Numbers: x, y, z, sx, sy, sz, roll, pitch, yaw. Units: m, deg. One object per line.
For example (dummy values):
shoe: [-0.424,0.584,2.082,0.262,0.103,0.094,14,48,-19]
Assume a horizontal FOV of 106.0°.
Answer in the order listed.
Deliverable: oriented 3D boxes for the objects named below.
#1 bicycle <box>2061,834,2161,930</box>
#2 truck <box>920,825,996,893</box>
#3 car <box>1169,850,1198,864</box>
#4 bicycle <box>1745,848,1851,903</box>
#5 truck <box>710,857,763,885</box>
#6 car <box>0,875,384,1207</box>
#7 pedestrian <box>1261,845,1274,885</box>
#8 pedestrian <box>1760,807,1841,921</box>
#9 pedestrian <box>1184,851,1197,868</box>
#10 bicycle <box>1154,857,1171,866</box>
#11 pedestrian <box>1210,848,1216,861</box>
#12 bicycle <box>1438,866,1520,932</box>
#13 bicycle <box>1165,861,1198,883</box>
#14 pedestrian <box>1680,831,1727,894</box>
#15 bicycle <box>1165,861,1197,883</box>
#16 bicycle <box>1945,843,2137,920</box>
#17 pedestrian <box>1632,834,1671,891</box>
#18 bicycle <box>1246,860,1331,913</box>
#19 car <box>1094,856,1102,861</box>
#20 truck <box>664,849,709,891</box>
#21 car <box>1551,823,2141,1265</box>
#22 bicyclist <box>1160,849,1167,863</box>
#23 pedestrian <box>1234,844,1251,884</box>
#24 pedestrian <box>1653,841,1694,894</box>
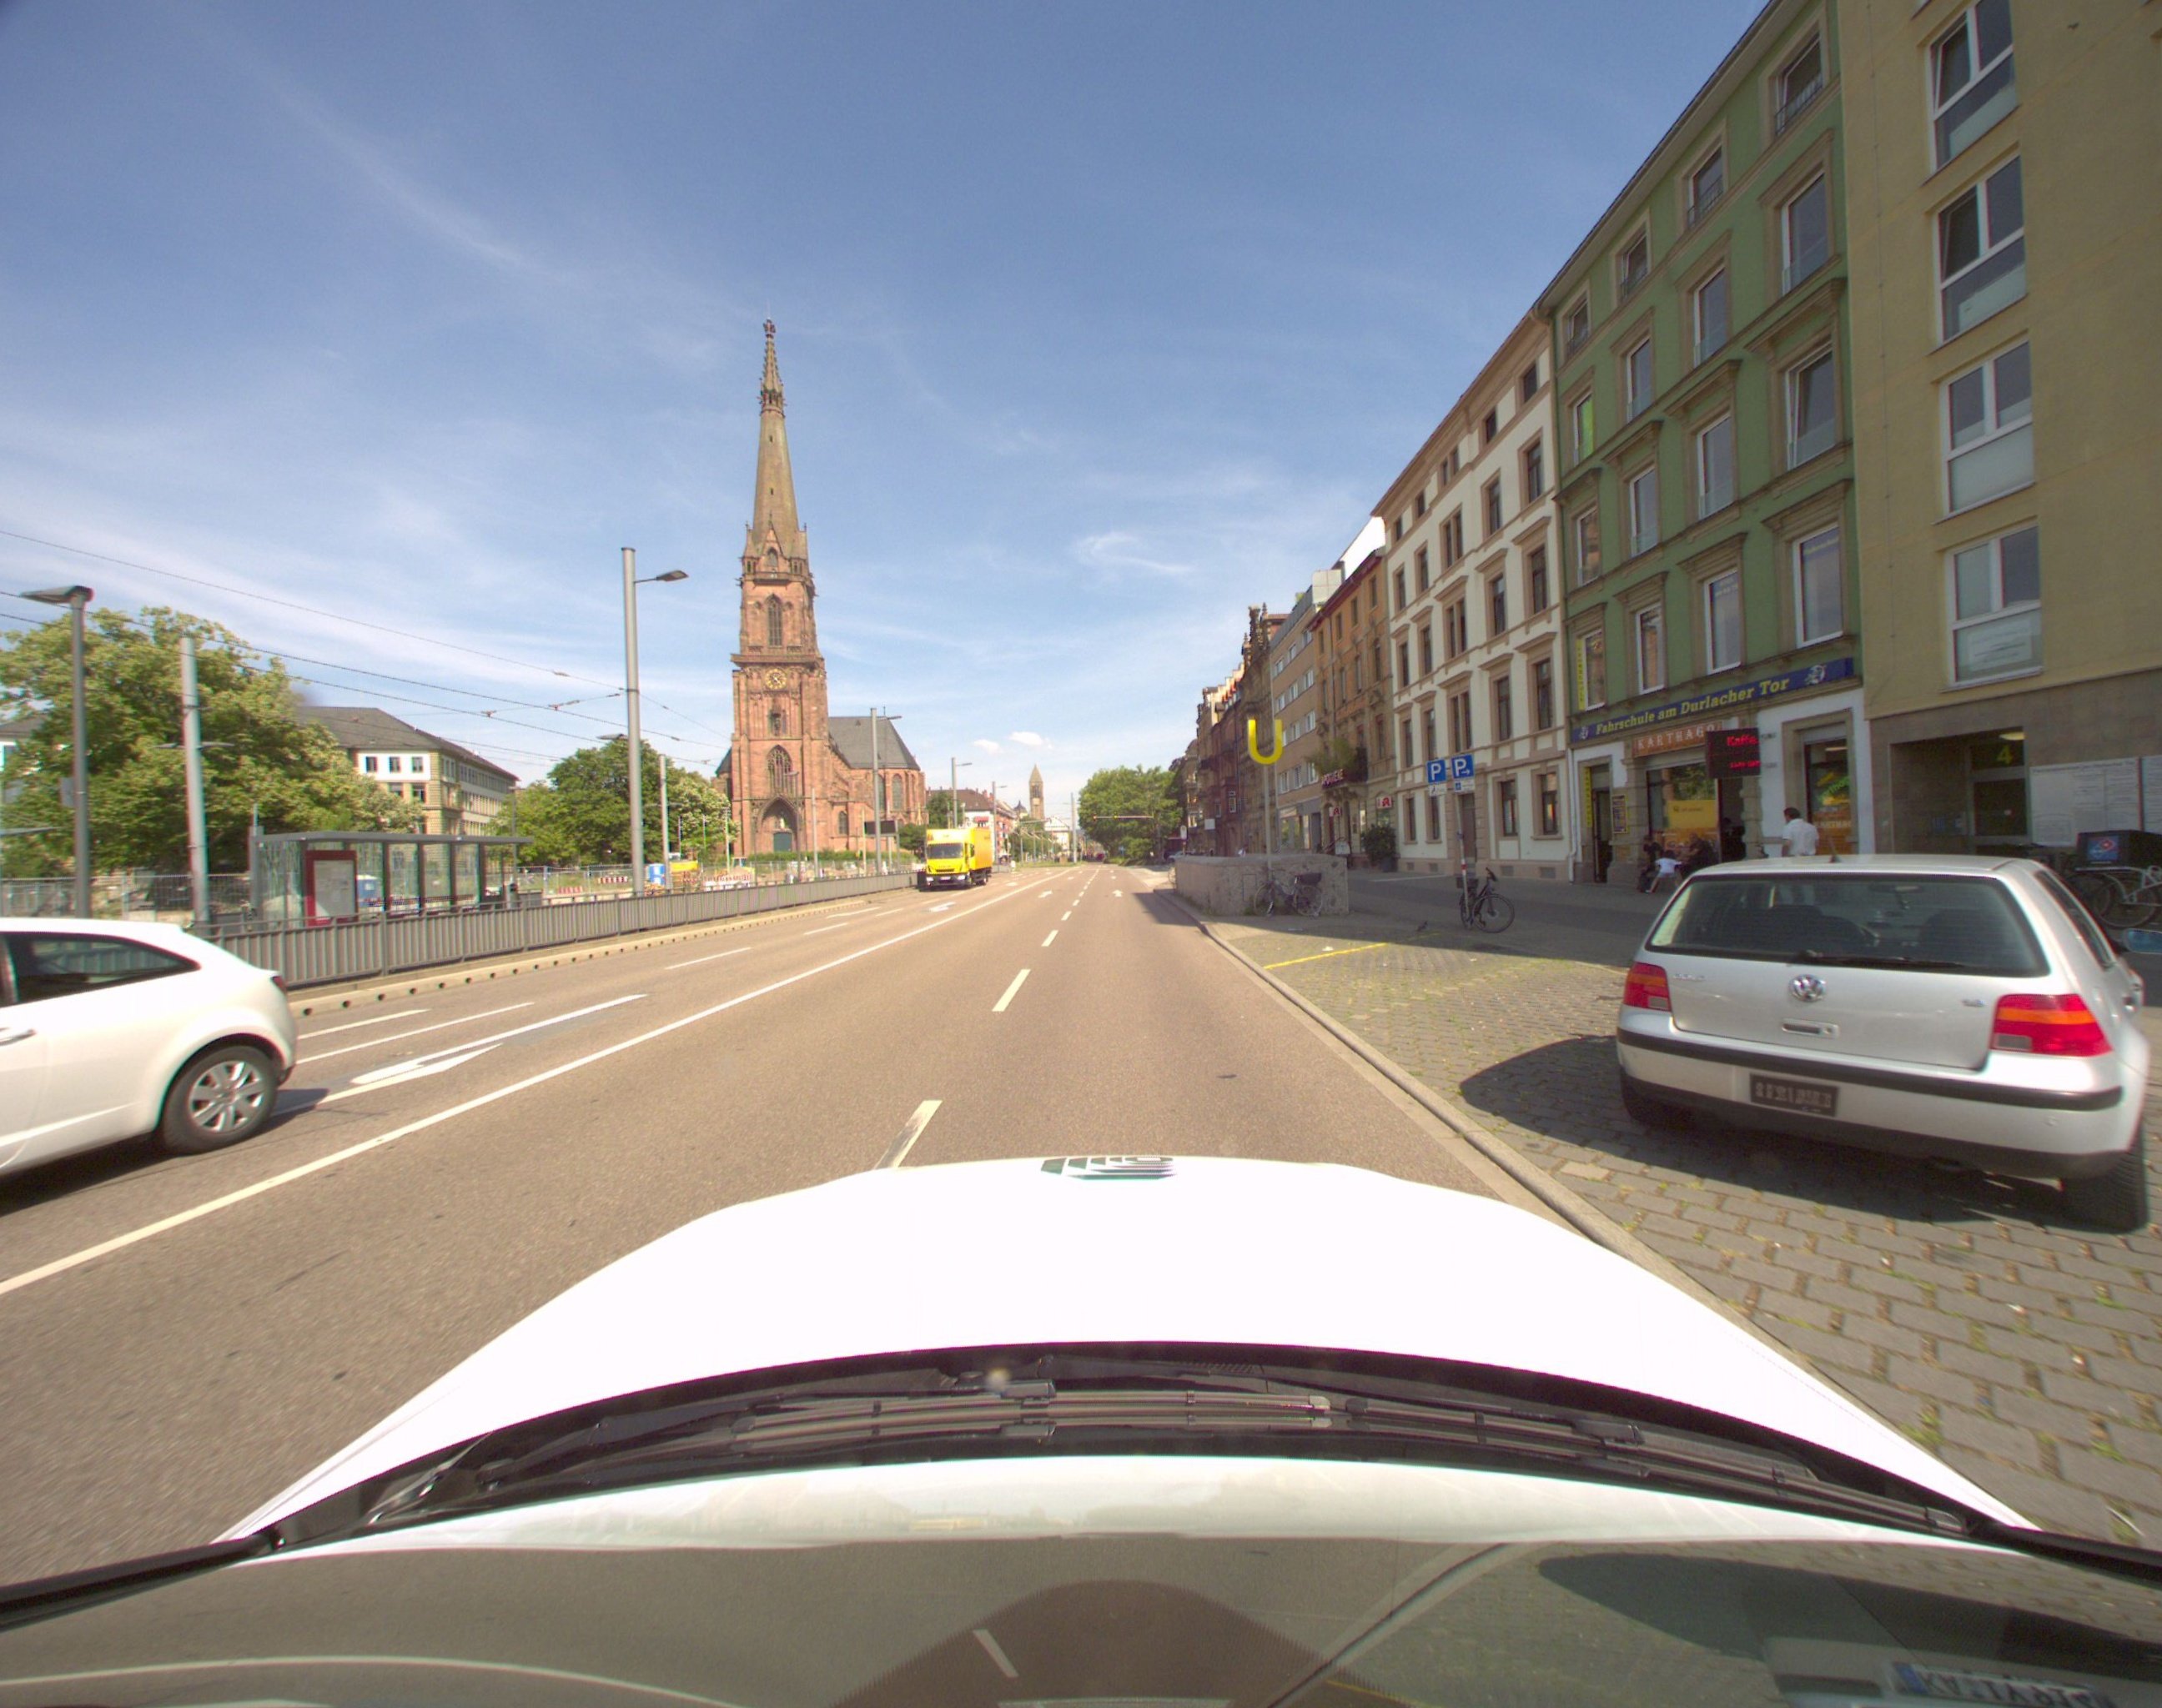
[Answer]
bicycle: [13.069,0.329,9.677,0.580,1.094,1.820,-5,0,1]
truck: [-6.816,0.270,46.559,2.534,3.298,9.031,-5,0,1]
car: [14.801,0.410,117.729,3.970,1.749,2.002,-2,2,3]
bicycle: [13.790,0.389,15.729,0.411,0.964,1.780,-5,0,1]
truck: [-35.895,1.738,85.014,4.377,2.678,2.390,-2,0,6]
car: [-5.682,0.944,3.412,1.748,1.398,4.126,-6,0,2]
pedestrian: [7.936,0.472,34.699,0.370,1.665,0.525,-2,0,2]
pedestrian: [11.484,0.157,13.017,0.607,1.745,0.704,-2,0,2]
pedestrian: [8.821,0.408,65.670,0.944,1.325,0.822,-2,0,-1]
bicycle: [9.142,0.818,90.925,1.821,0.863,0.481,-2,2,-14]
pedestrian: [14.744,0.079,91.192,0.531,1.406,0.490,-3,2,-5]
bicycle: [7.319,0.787,15.061,0.580,1.094,1.821,-5,-1,2]
bicycle: [4.699,0.836,38.062,1.455,0.976,0.416,-2,2,1]
pedestrian: [14.073,0.195,18.425,0.523,1.374,0.647,-2,0,1]
bicycle: [4.721,0.848,38.509,1.455,0.947,0.415,-2,-2,1]
bicycle: [13.580,0.366,11.607,0.580,0.964,1.780,-5,0,1]
pedestrian: [13.911,0.203,19.874,0.523,1.354,0.530,-2,0,1]
bicycle: [4.683,0.733,18.410,1.736,1.094,0.597,-2,1,1]
car: [4.457,1.134,213.131,1.893,1.376,3.814,-2,0,-1]
truck: [-35.780,1.426,74.086,3.030,3.569,6.000,-2,0,-21]
car: [4.497,0.626,4.609,4.019,1.440,1.793,0,0,-38]
bicyclist: [9.174,0.236,90.925,0.640,1.591,0.481,-2,2,-14]
pedestrian: [6.917,0.439,34.884,0.550,1.665,0.525,-2,0,2]
pedestrian: [13.610,0.301,18.710,0.523,1.168,0.530,-2,0,1]
